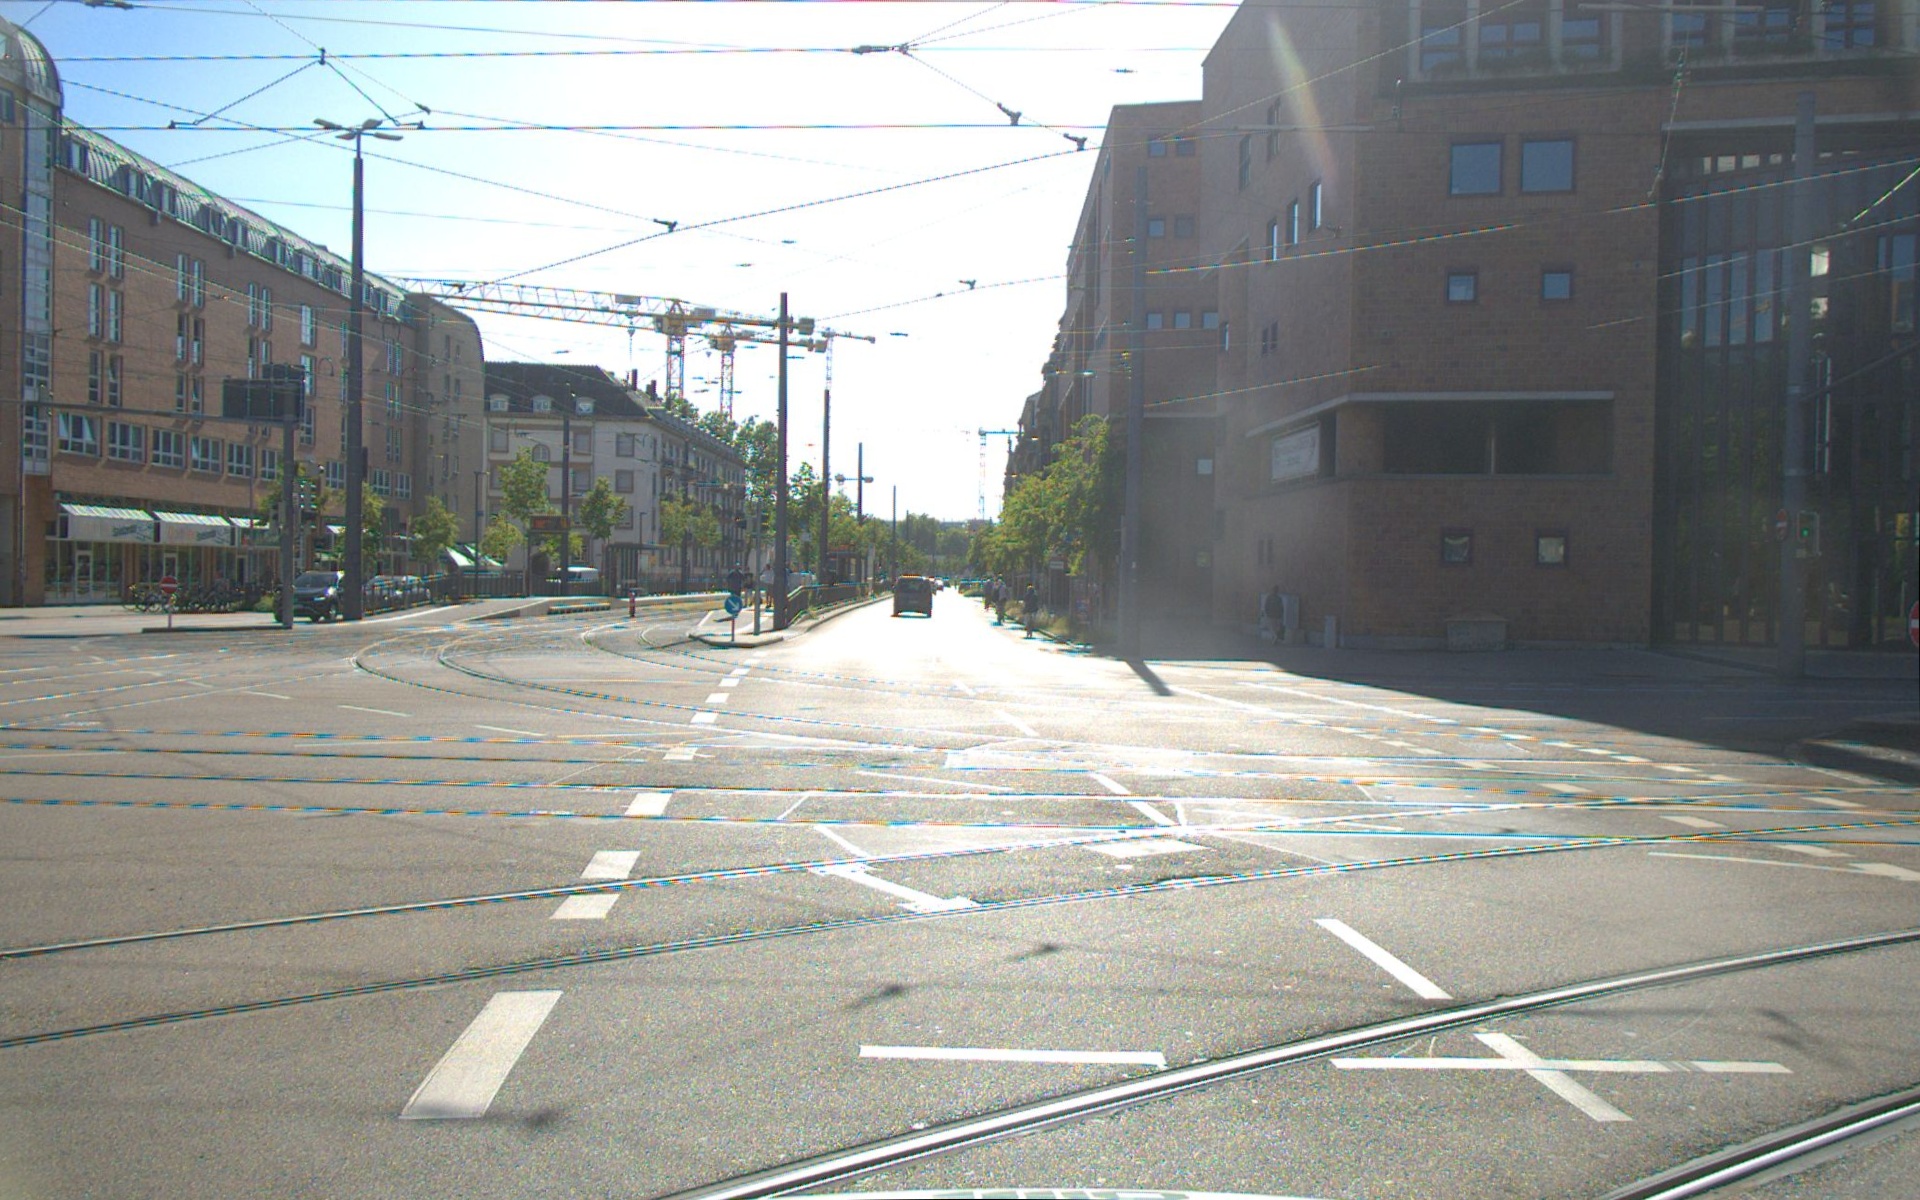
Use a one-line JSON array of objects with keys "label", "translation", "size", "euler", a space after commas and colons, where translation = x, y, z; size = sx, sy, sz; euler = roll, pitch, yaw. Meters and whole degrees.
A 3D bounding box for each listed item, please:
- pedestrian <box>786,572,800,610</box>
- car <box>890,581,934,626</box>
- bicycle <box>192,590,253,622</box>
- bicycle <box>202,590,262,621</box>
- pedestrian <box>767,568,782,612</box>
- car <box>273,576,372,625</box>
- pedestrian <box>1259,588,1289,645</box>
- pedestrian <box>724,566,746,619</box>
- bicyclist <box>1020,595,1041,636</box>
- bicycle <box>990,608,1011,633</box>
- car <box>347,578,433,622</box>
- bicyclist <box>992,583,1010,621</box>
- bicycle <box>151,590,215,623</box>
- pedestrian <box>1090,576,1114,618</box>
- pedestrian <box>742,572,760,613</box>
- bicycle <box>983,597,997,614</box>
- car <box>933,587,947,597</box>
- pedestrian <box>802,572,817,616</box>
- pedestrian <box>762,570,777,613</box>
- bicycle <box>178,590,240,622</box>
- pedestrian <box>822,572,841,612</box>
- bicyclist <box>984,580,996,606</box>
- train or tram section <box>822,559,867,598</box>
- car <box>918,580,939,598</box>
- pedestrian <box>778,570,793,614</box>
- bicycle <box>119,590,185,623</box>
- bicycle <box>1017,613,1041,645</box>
[{"label": "pedestrian", "translation": [-7.417, -0.389, 73.488], "size": [0.528, 1.684, 0.633], "euler": [1, 0, -3]}, {"label": "car", "translation": [-2.227, 0.161, 76.058], "size": [1.954, 1.982, 3.998], "euler": [1, 0, -3]}, {"label": "bicycle", "translation": [-32.279, 0.251, 72.405], "size": [2.431, 1.333, 0.734], "euler": [1, 0, 9]}, {"label": "bicycle", "translation": [-32.225, 0.243, 73.234], "size": [2.431, 1.333, 0.734], "euler": [1, 0, 9]}, {"label": "pedestrian", "translation": [-7.706, -0.403, 68.699], "size": [0.528, 1.804, 0.633], "euler": [1, 0, -3]}, {"label": "car", "translation": [-20.137, -0.015, 52.400], "size": [1.577, 1.422, 3.919], "euler": [-3, 1, 0]}, {"label": "pedestrian", "translation": [8.897, 0.466, 46.829], "size": [0.605, 1.590, 0.986], "euler": [1, 0, -3]}, {"label": "pedestrian", "translation": [-7.440, -0.258, 54.699], "size": [0.602, 1.698, 0.864], "euler": [-2, 1, -3]}, {"label": "bicyclist", "translation": [2.355, 0.506, 55.170], "size": [0.581, 1.359, 0.933], "euler": [1, 0, -3]}, {"label": "bicycle", "translation": [1.668, 0.838, 68.604], "size": [0.654, 1.002, 2.584], "euler": [1, 0, -3]}, {"label": "car", "translation": [-20.263, -0.025, 58.940], "size": [1.577, 1.422, 4.227], "euler": [-3, 1, 0]}, {"label": "bicyclist", "translation": [1.687, 0.077, 68.515], "size": [0.654, 1.553, 0.706], "euler": [1, 0, -3]}, {"label": "bicycle", "translation": [-32.782, 0.259, 69.800], "size": [2.431, 1.333, 0.734], "euler": [1, 0, 9]}, {"label": "pedestrian", "translation": [5.899, -0.129, 68.574], "size": [0.862, 1.747, 0.931], "euler": [1, 0, -3]}, {"label": "pedestrian", "translation": [-8.172, -0.293, 64.631], "size": [0.588, 1.594, 0.913], "euler": [1, 0, -3]}, {"label": "bicycle", "translation": [1.802, 0.307, 99.342], "size": [0.654, 1.002, 2.584], "euler": [1, 0, -3]}, {"label": "car", "translation": [-2.803, -1.121, 231.022], "size": [1.953, 1.445, 3.999], "euler": [1, 0, -1]}, {"label": "pedestrian", "translation": [-5.906, -0.242, 64.817], "size": [0.528, 1.684, 0.706], "euler": [1, 0, -3]}, {"label": "pedestrian", "translation": [-7.415, -0.329, 64.267], "size": [0.500, 1.684, 0.761], "euler": [1, 0, -3]}, {"label": "bicycle", "translation": [-32.383, 0.256, 71.310], "size": [2.431, 1.333, 0.734], "euler": [1, 0, 9]}, {"label": "pedestrian", "translation": [-5.692, -0.339, 73.486], "size": [0.705, 1.765, 0.599], "euler": [1, 0, -20]}, {"label": "bicyclist", "translation": [1.812, -0.426, 99.267], "size": [0.654, 1.553, 0.706], "euler": [1, 0, -3]}, {"label": "train or tram section", "translation": [-9.535, -1.764, 137.690], "size": [2.278, 3.055, 13.164], "euler": [2, 1, 2]}, {"label": "car", "translation": [-3.231, -1.092, 168.593], "size": [1.954, 1.758, 3.998], "euler": [1, 0, -3]}, {"label": "pedestrian", "translation": [-6.791, -0.325, 64.319], "size": [0.528, 1.684, 0.895], "euler": [1, 0, -3]}, {"label": "bicycle", "translation": [-33.415, 0.266, 68.414], "size": [2.431, 1.333, 0.734], "euler": [1, 0, 9]}, {"label": "bicycle", "translation": [2.328, 0.955, 55.641], "size": [0.591, 1.002, 2.313], "euler": [1, 0, -3]}]
